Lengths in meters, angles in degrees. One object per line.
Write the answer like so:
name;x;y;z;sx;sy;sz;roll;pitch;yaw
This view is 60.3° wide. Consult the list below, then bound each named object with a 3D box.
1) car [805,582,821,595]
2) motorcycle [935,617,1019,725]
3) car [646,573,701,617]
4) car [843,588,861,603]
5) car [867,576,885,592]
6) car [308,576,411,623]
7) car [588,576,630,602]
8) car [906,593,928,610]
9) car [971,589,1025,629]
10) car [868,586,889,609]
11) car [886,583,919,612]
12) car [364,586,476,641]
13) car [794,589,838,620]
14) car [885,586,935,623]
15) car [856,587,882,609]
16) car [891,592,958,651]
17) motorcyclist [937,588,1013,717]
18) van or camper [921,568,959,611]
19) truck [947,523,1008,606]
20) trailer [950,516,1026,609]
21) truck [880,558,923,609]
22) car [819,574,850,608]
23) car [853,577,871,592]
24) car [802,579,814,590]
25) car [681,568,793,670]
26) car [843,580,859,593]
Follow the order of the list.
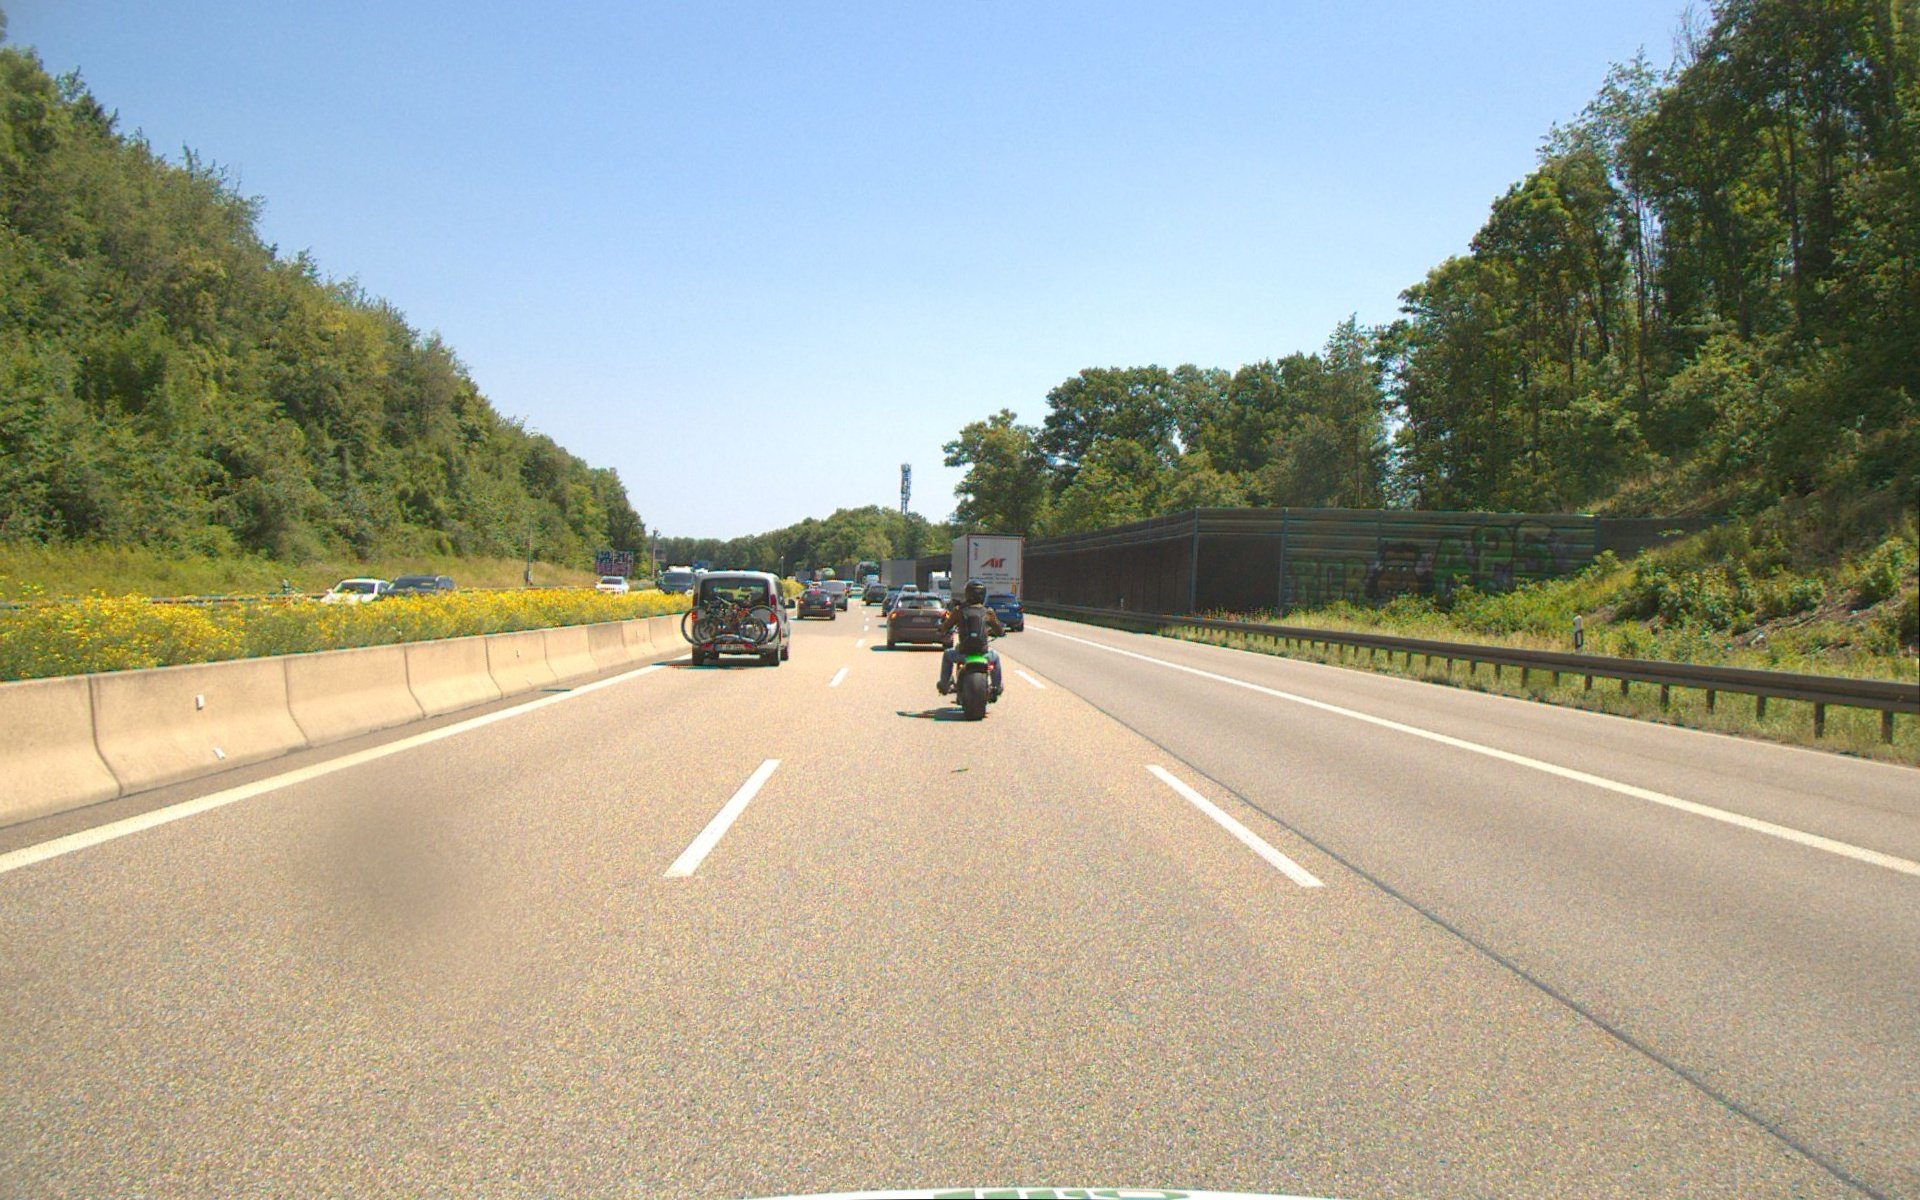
car;-17.310;-1.372;194.842;1.796;1.522;3.740;1;-1;-4
motorcycle;0.212;0.830;20.432;0.945;1.168;2.812;1;1;1
car;-13.918;-0.227;80.521;1.953;2.049;4.419;1;-1;-1
car;-11.265;-0.460;172.672;1.796;1.522;3.740;1;-1;-4
car;-10.841;-2.076;212.635;2.067;1.909;3.995;1;-1;-6
car;-19.741;0.008;54.558;1.953;1.467;4.169;1;-1;-2
car;-22.650;-0.708;106.916;1.954;1.645;4.481;1;1;-3
car;-4.116;0.136;156.666;1.954;1.601;3.998;1;-1;-3
car;1.458;0.352;64.930;1.618;1.508;4.476;1;0;-5
car;-7.546;-0.192;152.770;1.874;2.049;3.687;1;-1;-4
car;-3.121;-0.118;90.367;1.743;1.579;3.584;1;-1;-1
car;-15.418;0.391;47.469;1.953;1.512;3.999;1;-1;-1
car;-6.860;0.227;79.100;1.954;1.411;3.997;1;-1;-3
car;-2.108;0.199;68.847;1.954;1.455;3.845;1;-1;-3
car;-6.963;-0.129;127.429;1.954;1.669;3.998;1;-1;-3
car;-0.984;0.570;43.937;1.629;1.478;3.866;1;-1;-3
motorcyclist;0.191;0.627;20.338;0.881;1.501;1.872;1;-1;1
van or camper;-1.384;-0.700;117.318;2.630;2.862;6.802;1;-1;0
truck;0.872;-1.825;87.196;2.828;4.218;5.983;1;0;-3
trailer;1.186;-1.726;80.382;2.828;4.109;13.788;1;1;-3
truck;-6.076;-1.587;170.190;3.730;5.046;8.937;1;-1;-7
car;-7.913;-0.540;104.630;1.755;2.049;3.641;1;-1;-2
car;-12.906;-2.037;217.810;2.067;1.909;3.995;1;-1;-6
car;-22.062;-2.193;239.954;1.797;1.522;3.739;1;-1;-6
car;-4.406;0.375;33.229;1.861;1.906;4.409;1;-1;-3
car;-12.971;-1.600;196.648;1.796;1.522;3.740;1;-1;-4
